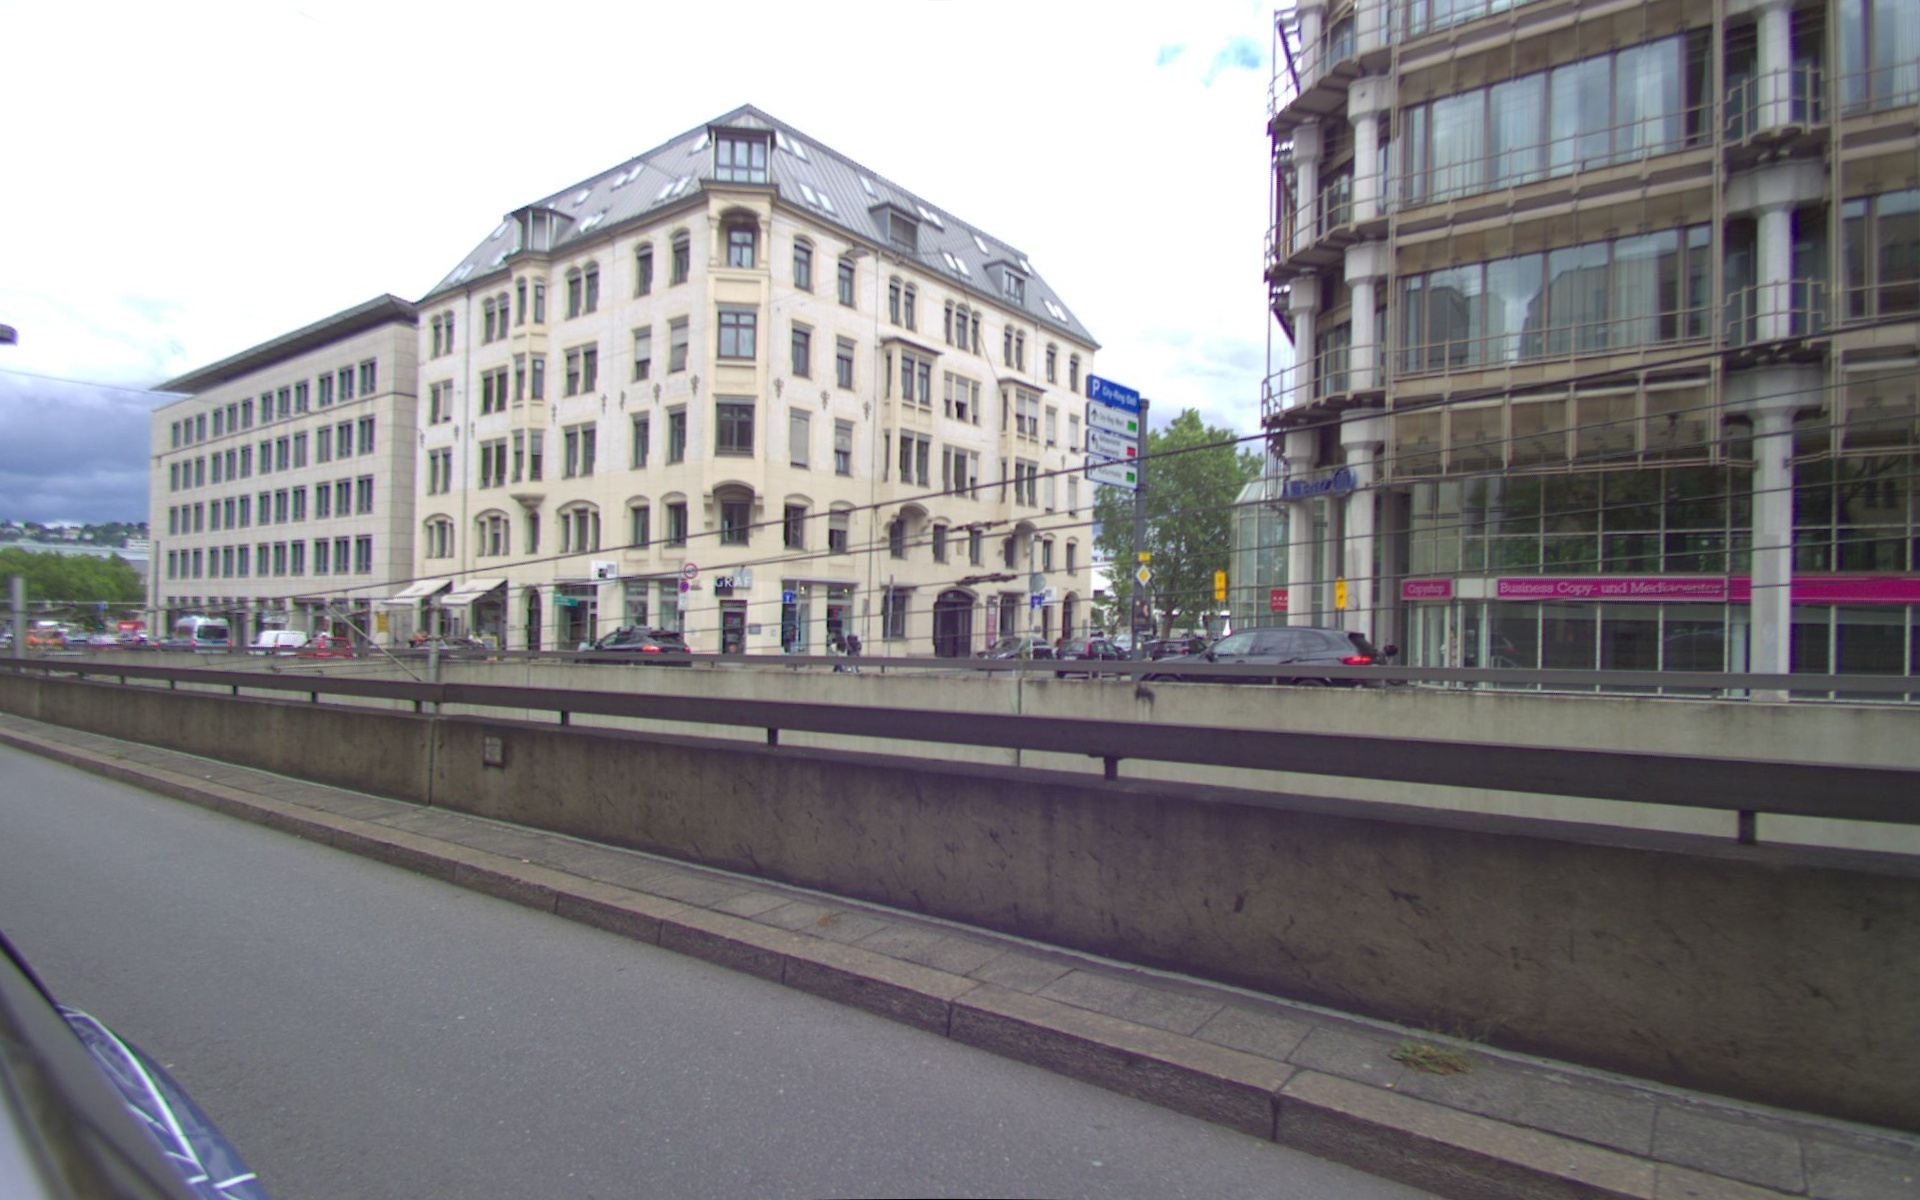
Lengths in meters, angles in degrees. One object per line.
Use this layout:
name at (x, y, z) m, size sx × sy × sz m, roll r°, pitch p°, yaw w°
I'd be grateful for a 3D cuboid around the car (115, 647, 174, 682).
car at (-53.208, 4.157, 66.016) m, size 4.784 × 2.029 × 1.974 m, roll -1°, pitch -1°, yaw 38°

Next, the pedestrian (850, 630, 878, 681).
pedestrian at (-3.301, 1.884, 34.714) m, size 0.684 × 1.724 × 0.705 m, roll -2°, pitch -2°, yaw 27°

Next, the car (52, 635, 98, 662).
car at (-68.012, 3.719, 77.772) m, size 3.996 × 2.029 × 1.973 m, roll -2°, pitch -3°, yaw 40°

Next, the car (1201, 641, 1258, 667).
car at (12.815, 2.547, 48.002) m, size 1.535 × 1.140 × 3.558 m, roll -1°, pitch -2°, yaw 34°

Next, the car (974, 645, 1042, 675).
car at (2.215, 2.703, 45.948) m, size 1.644 × 1.243 × 3.562 m, roll -1°, pitch -2°, yaw 31°

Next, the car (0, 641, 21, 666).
car at (-77.432, 4.300, 81.636) m, size 3.996 × 2.029 × 1.973 m, roll -2°, pitch -3°, yaw 40°

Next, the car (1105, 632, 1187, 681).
car at (6.779, 2.005, 36.653) m, size 1.646 × 1.674 × 3.558 m, roll -1°, pitch -2°, yaw 34°

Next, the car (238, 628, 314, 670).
car at (-36.265, 2.554, 53.637) m, size 4.784 × 2.029 × 1.974 m, roll -1°, pitch -1°, yaw 38°

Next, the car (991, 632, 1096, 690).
car at (2.638, 1.839, 31.228) m, size 1.646 × 1.674 × 3.606 m, roll -1°, pitch -2°, yaw 35°

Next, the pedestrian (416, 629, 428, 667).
pedestrian at (-25.741, 2.305, 48.412) m, size 0.502 × 1.793 × 0.579 m, roll 0°, pitch -2°, yaw -28°

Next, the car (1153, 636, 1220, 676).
car at (9.973, 2.405, 44.410) m, size 1.646 × 1.674 × 3.558 m, roll -1°, pitch -2°, yaw 34°

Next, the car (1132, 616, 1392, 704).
car at (5.930, 1.136, 20.154) m, size 4.634 × 1.572 × 1.797 m, roll -1°, pitch -2°, yaw 37°

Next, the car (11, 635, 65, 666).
car at (-65.135, 3.501, 71.457) m, size 4.784 × 2.029 × 2.089 m, roll -1°, pitch -1°, yaw 38°

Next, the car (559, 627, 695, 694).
car at (-11.054, 1.916, 33.441) m, size 4.784 × 2.029 × 1.974 m, roll -1°, pitch -1°, yaw 38°

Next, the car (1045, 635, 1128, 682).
car at (4.756, 2.137, 37.817) m, size 1.646 × 1.674 × 3.558 m, roll -1°, pitch -2°, yaw 34°

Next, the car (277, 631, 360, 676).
car at (-31.472, 2.569, 49.594) m, size 4.784 × 2.029 × 1.974 m, roll -1°, pitch -1°, yaw 38°

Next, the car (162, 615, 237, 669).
car at (-46.001, 2.468, 61.169) m, size 5.462 × 3.083 × 2.341 m, roll -1°, pitch -1°, yaw 38°

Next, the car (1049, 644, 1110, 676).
car at (5.979, 2.949, 50.244) m, size 1.431 × 1.204 × 3.558 m, roll 8°, pitch 5°, yaw 34°

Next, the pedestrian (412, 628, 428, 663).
pedestrian at (-27.659, 2.328, 51.841) m, size 0.512 × 1.793 × 0.568 m, roll -2°, pitch -2°, yaw 45°

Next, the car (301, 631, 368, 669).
car at (-35.557, 2.813, 57.510) m, size 3.994 × 2.029 × 1.974 m, roll -2°, pitch -3°, yaw 38°

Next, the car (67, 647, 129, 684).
car at (-52.821, 3.992, 61.996) m, size 4.784 × 2.029 × 1.974 m, roll -1°, pitch -1°, yaw 38°

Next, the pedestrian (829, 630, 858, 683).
pedestrian at (-3.898, 1.888, 33.912) m, size 0.684 × 1.724 × 0.705 m, roll -2°, pitch -2°, yaw 27°

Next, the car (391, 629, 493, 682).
car at (-21.558, 2.244, 42.050) m, size 4.784 × 2.029 × 1.974 m, roll -1°, pitch -1°, yaw 38°
